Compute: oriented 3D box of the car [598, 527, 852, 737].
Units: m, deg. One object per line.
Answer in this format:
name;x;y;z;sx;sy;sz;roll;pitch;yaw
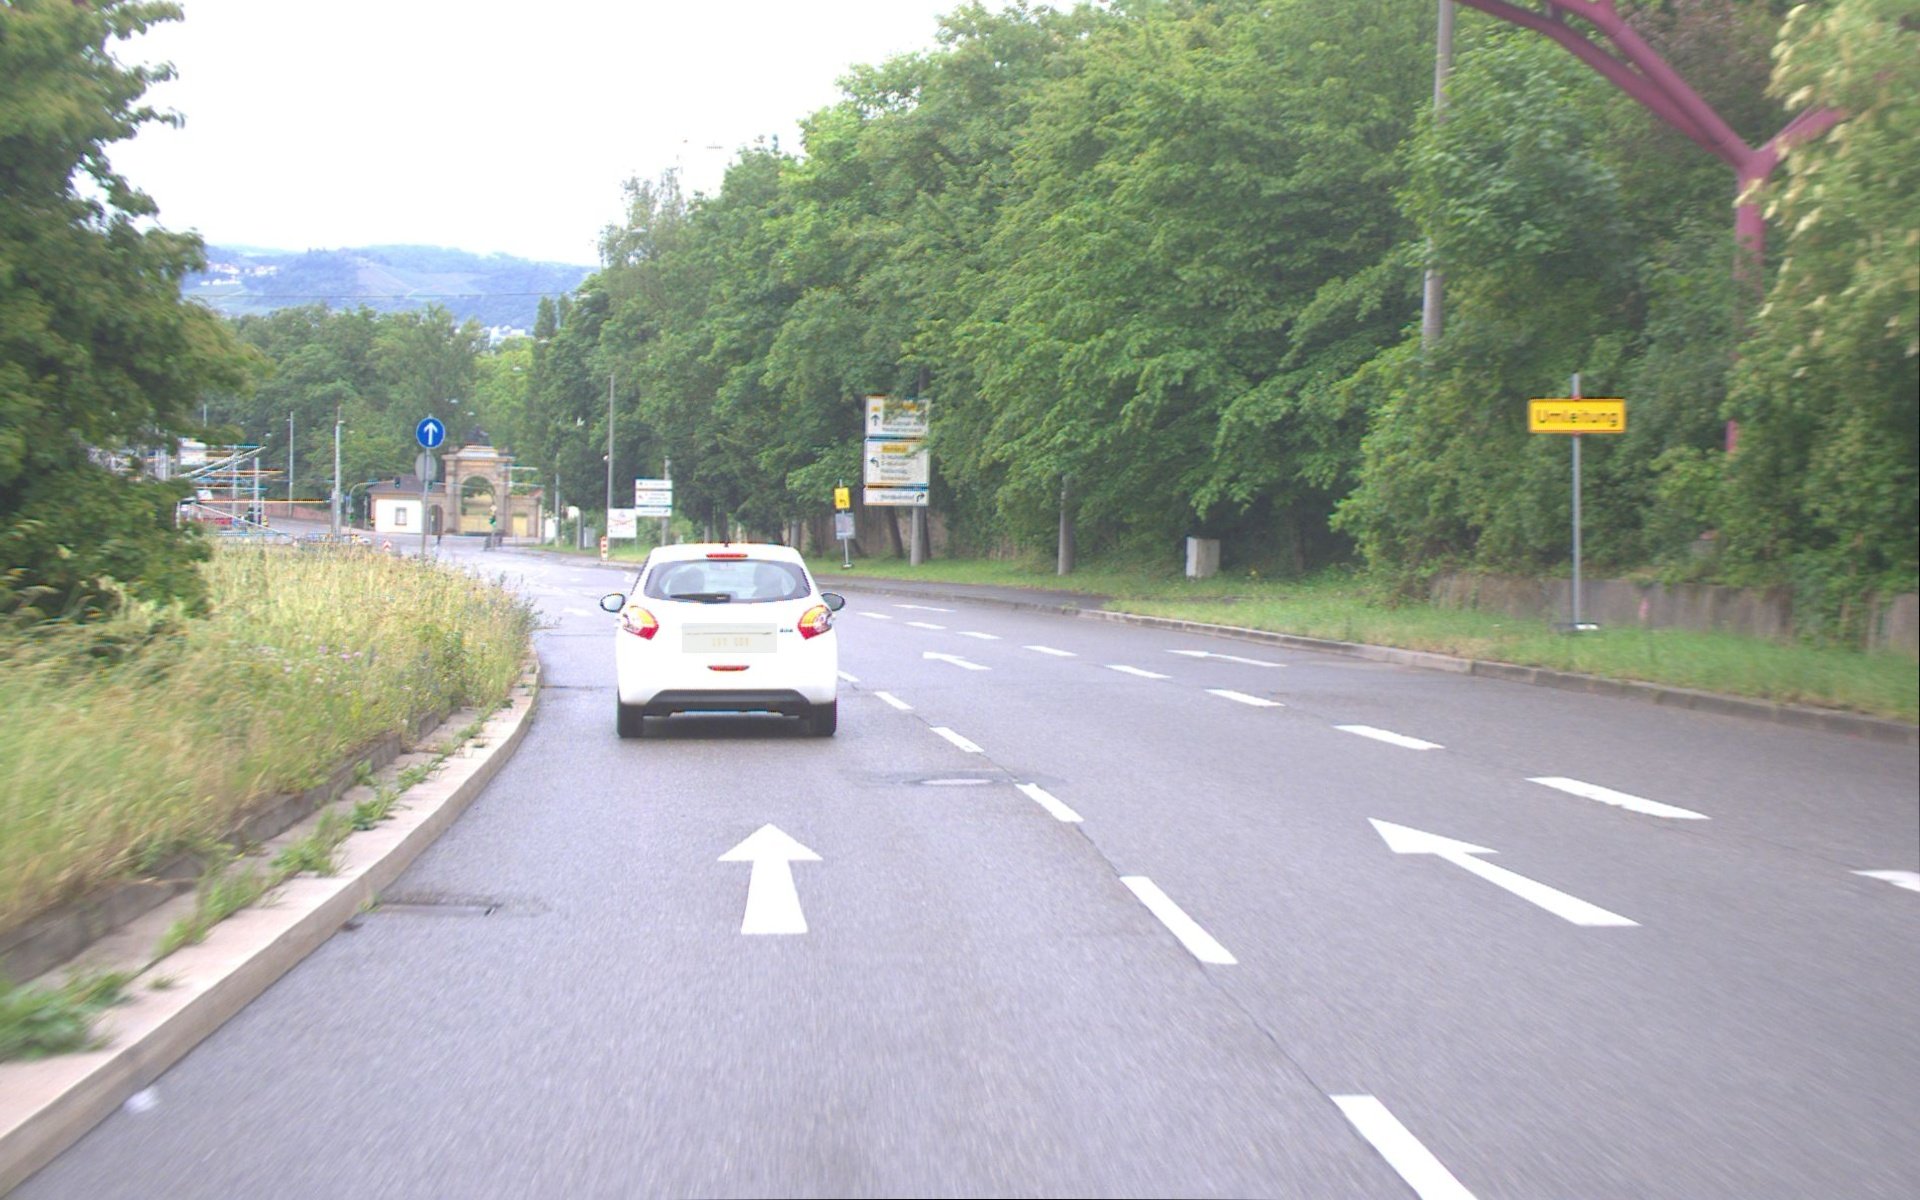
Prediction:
car;-1.931;0.192;27.314;1.868;1.505;3.901;0;2;-6
